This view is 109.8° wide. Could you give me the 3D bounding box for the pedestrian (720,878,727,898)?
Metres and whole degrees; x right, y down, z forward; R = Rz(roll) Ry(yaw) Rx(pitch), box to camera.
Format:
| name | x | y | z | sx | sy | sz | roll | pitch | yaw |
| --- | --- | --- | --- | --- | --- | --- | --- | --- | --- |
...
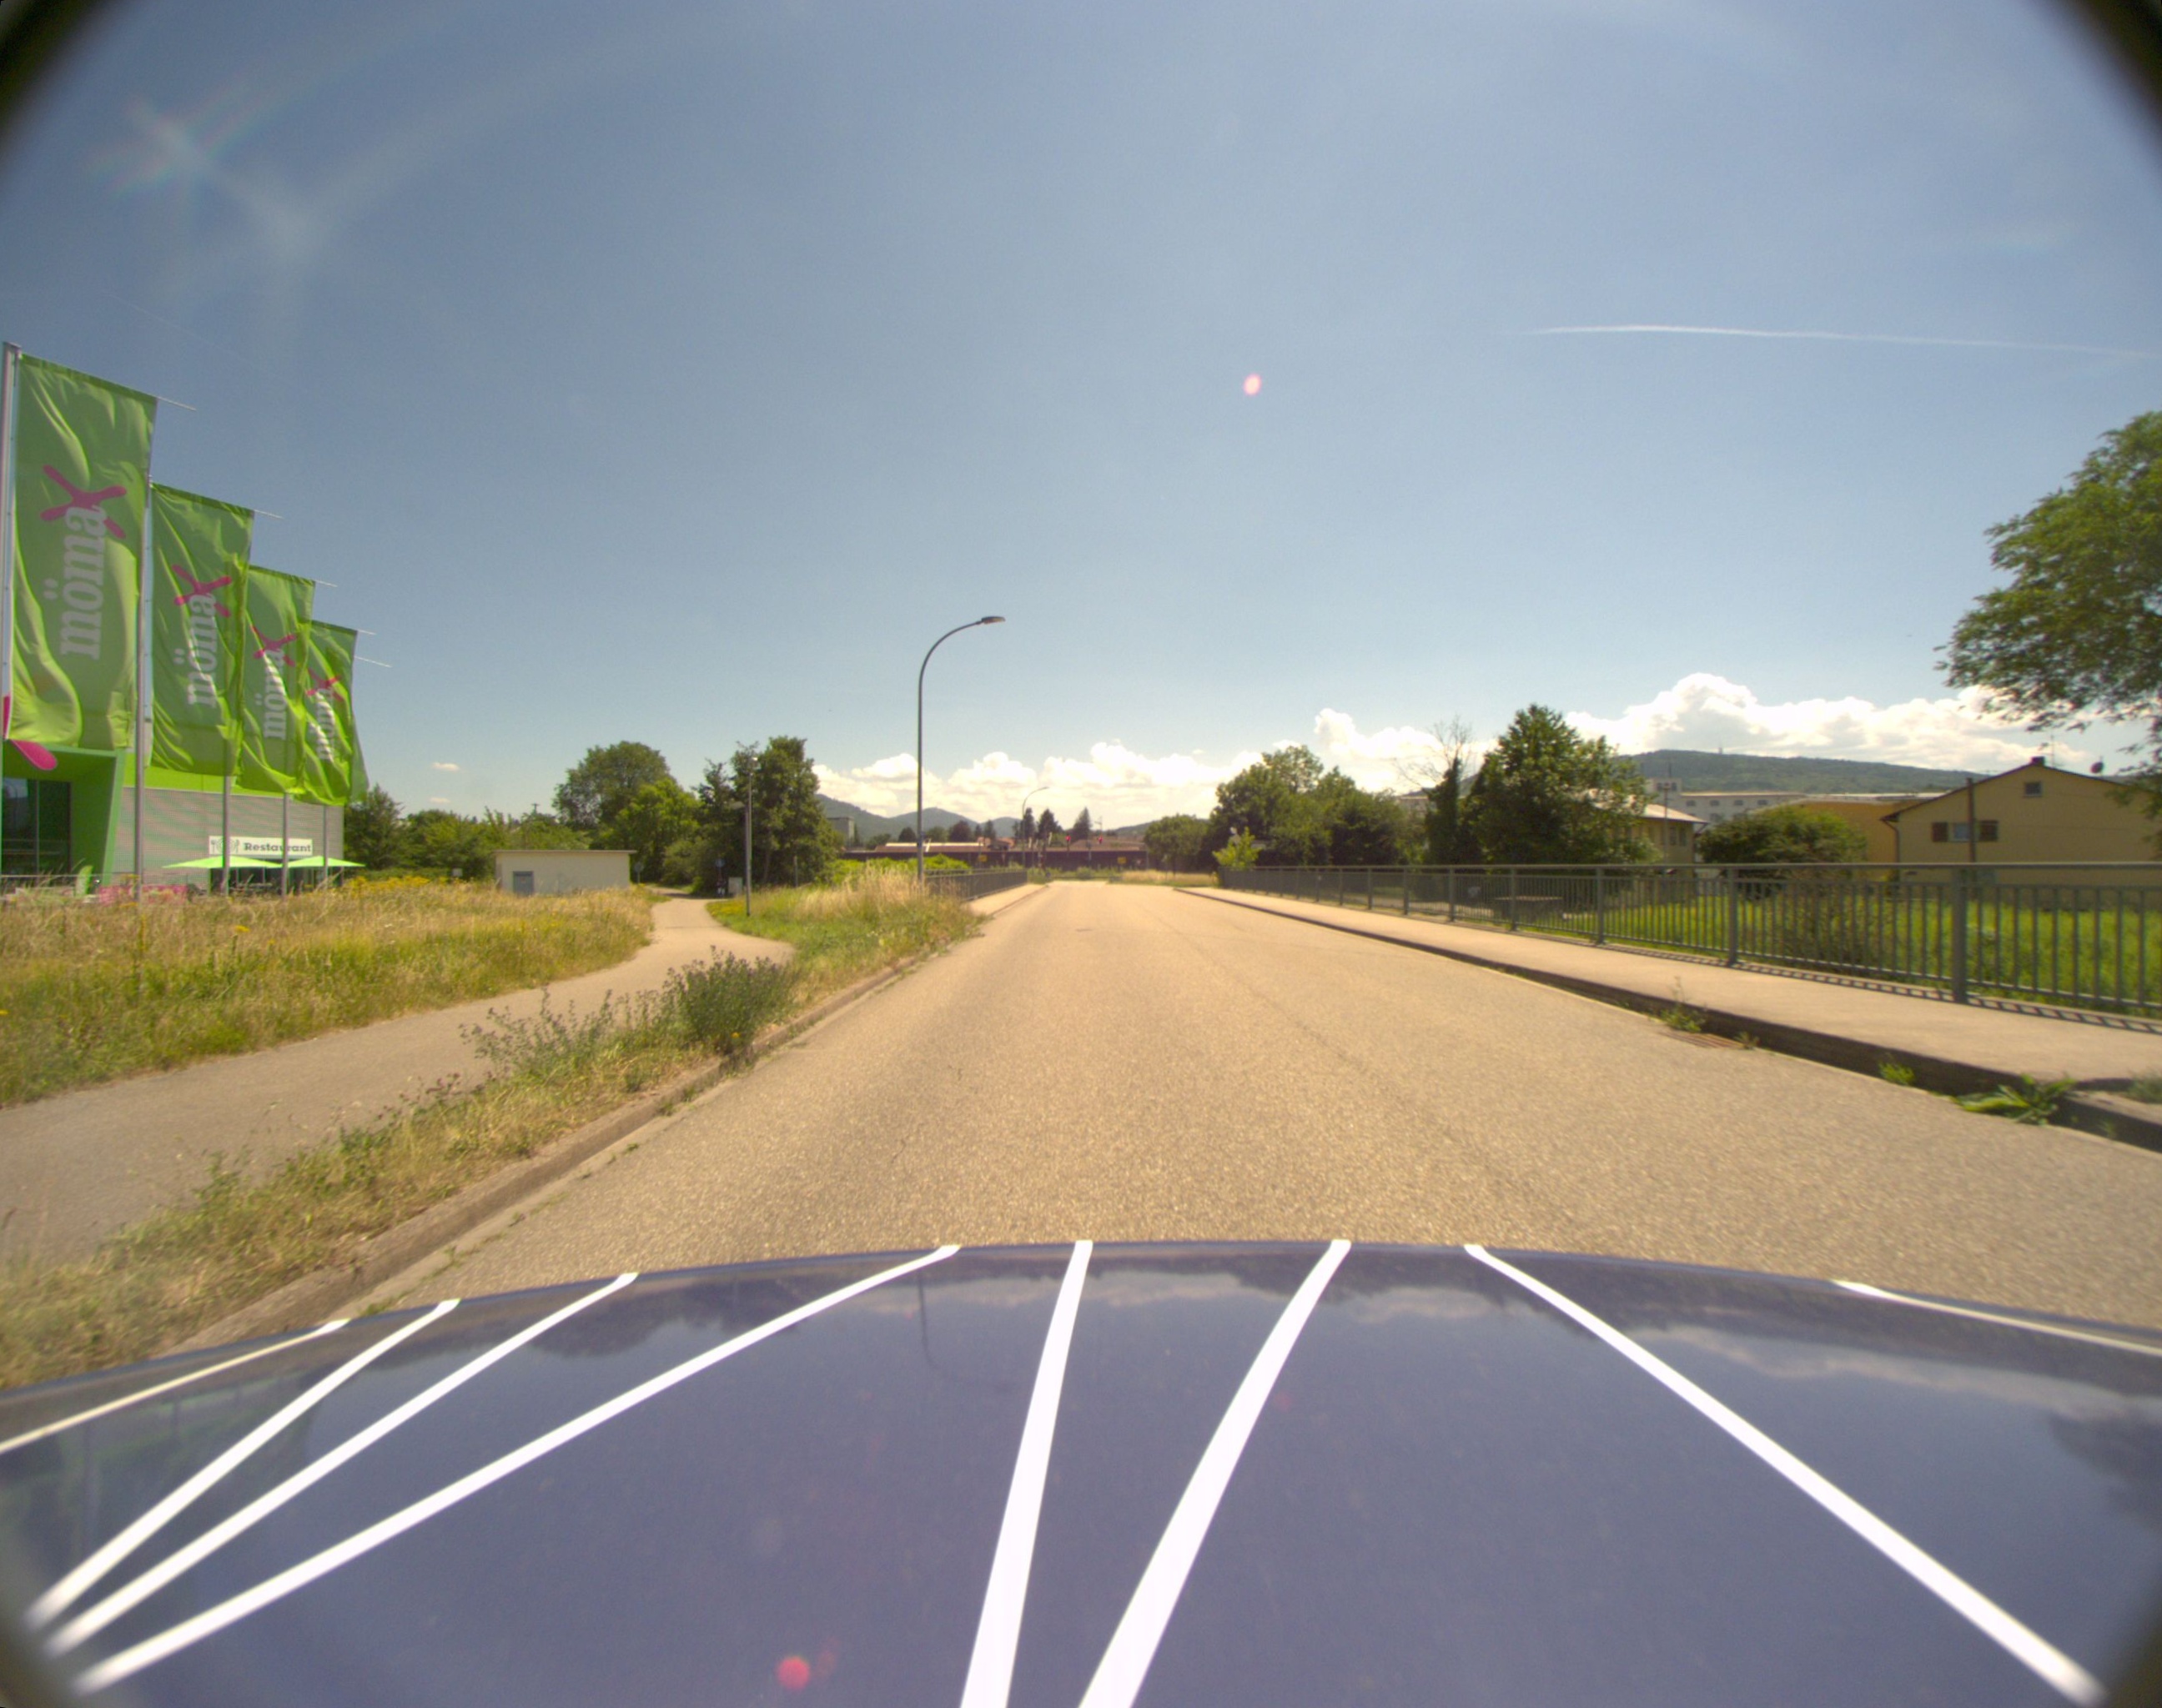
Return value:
| name | x | y | z | sx | sy | sz | roll | pitch | yaw |
| --- | --- | --- | --- | --- | --- | --- | --- | --- | --- |
| pedestrian | -26.866 | 2.550 | 57.082 | 0.439 | 1.529 | 0.413 | -1 | -2 | -26 |
